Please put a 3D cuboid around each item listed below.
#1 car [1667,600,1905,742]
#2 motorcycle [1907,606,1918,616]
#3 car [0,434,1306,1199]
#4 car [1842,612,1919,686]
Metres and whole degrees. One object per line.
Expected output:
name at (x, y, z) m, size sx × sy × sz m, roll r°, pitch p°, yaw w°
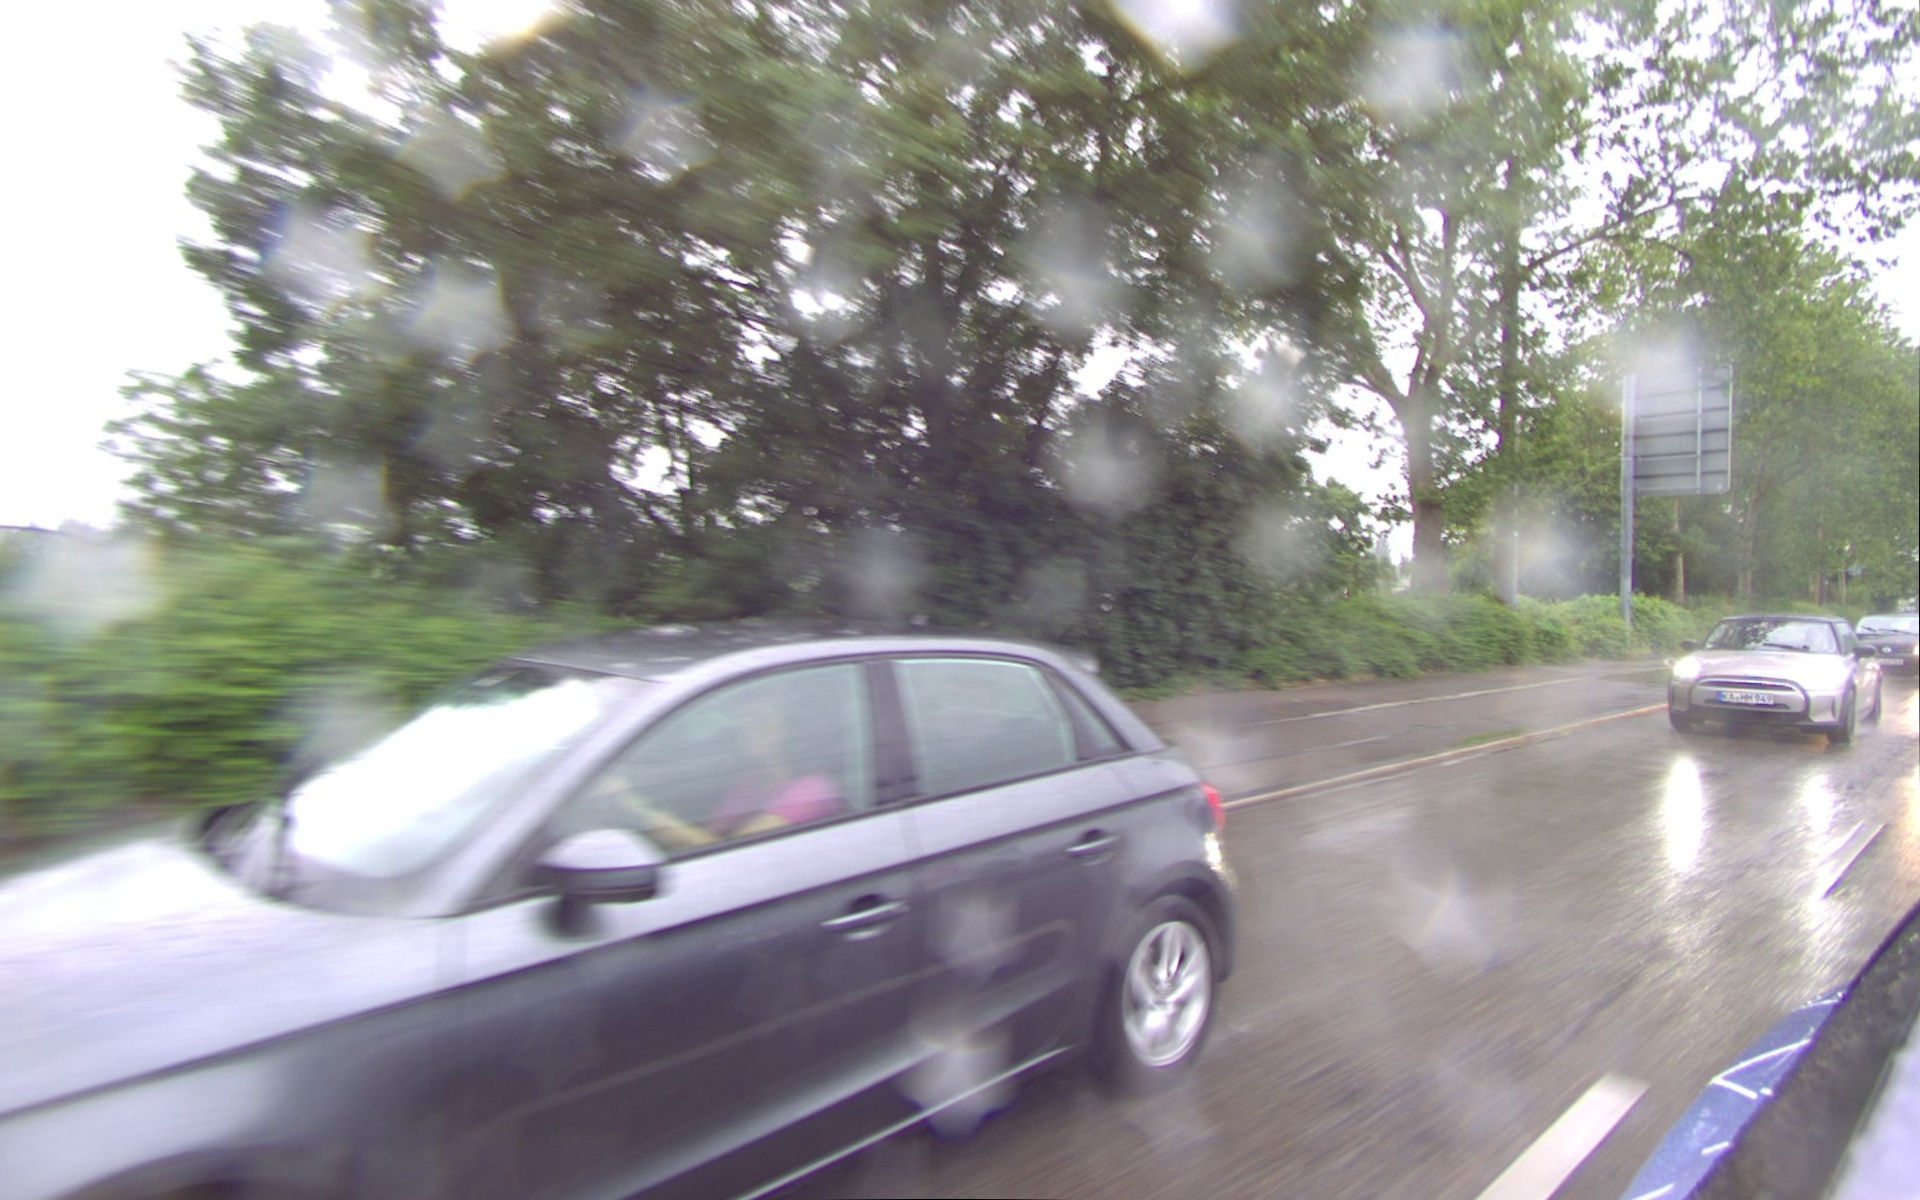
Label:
car at (10.312, 0.741, 12.548) m, size 3.789 × 1.432 × 1.793 m, roll -1°, pitch 1°, yaw -43°
motorcycle at (120.371, 1.430, 127.884) m, size 1.418 × 1.234 × 0.635 m, roll 1°, pitch 1°, yaw -30°
car at (-0.894, 0.584, 2.908) m, size 3.923 × 1.548 × 1.970 m, roll 1°, pitch -1°, yaw -43°
car at (20.396, 1.024, 21.742) m, size 4.022 × 1.480 × 1.773 m, roll 2°, pitch -2°, yaw -43°
